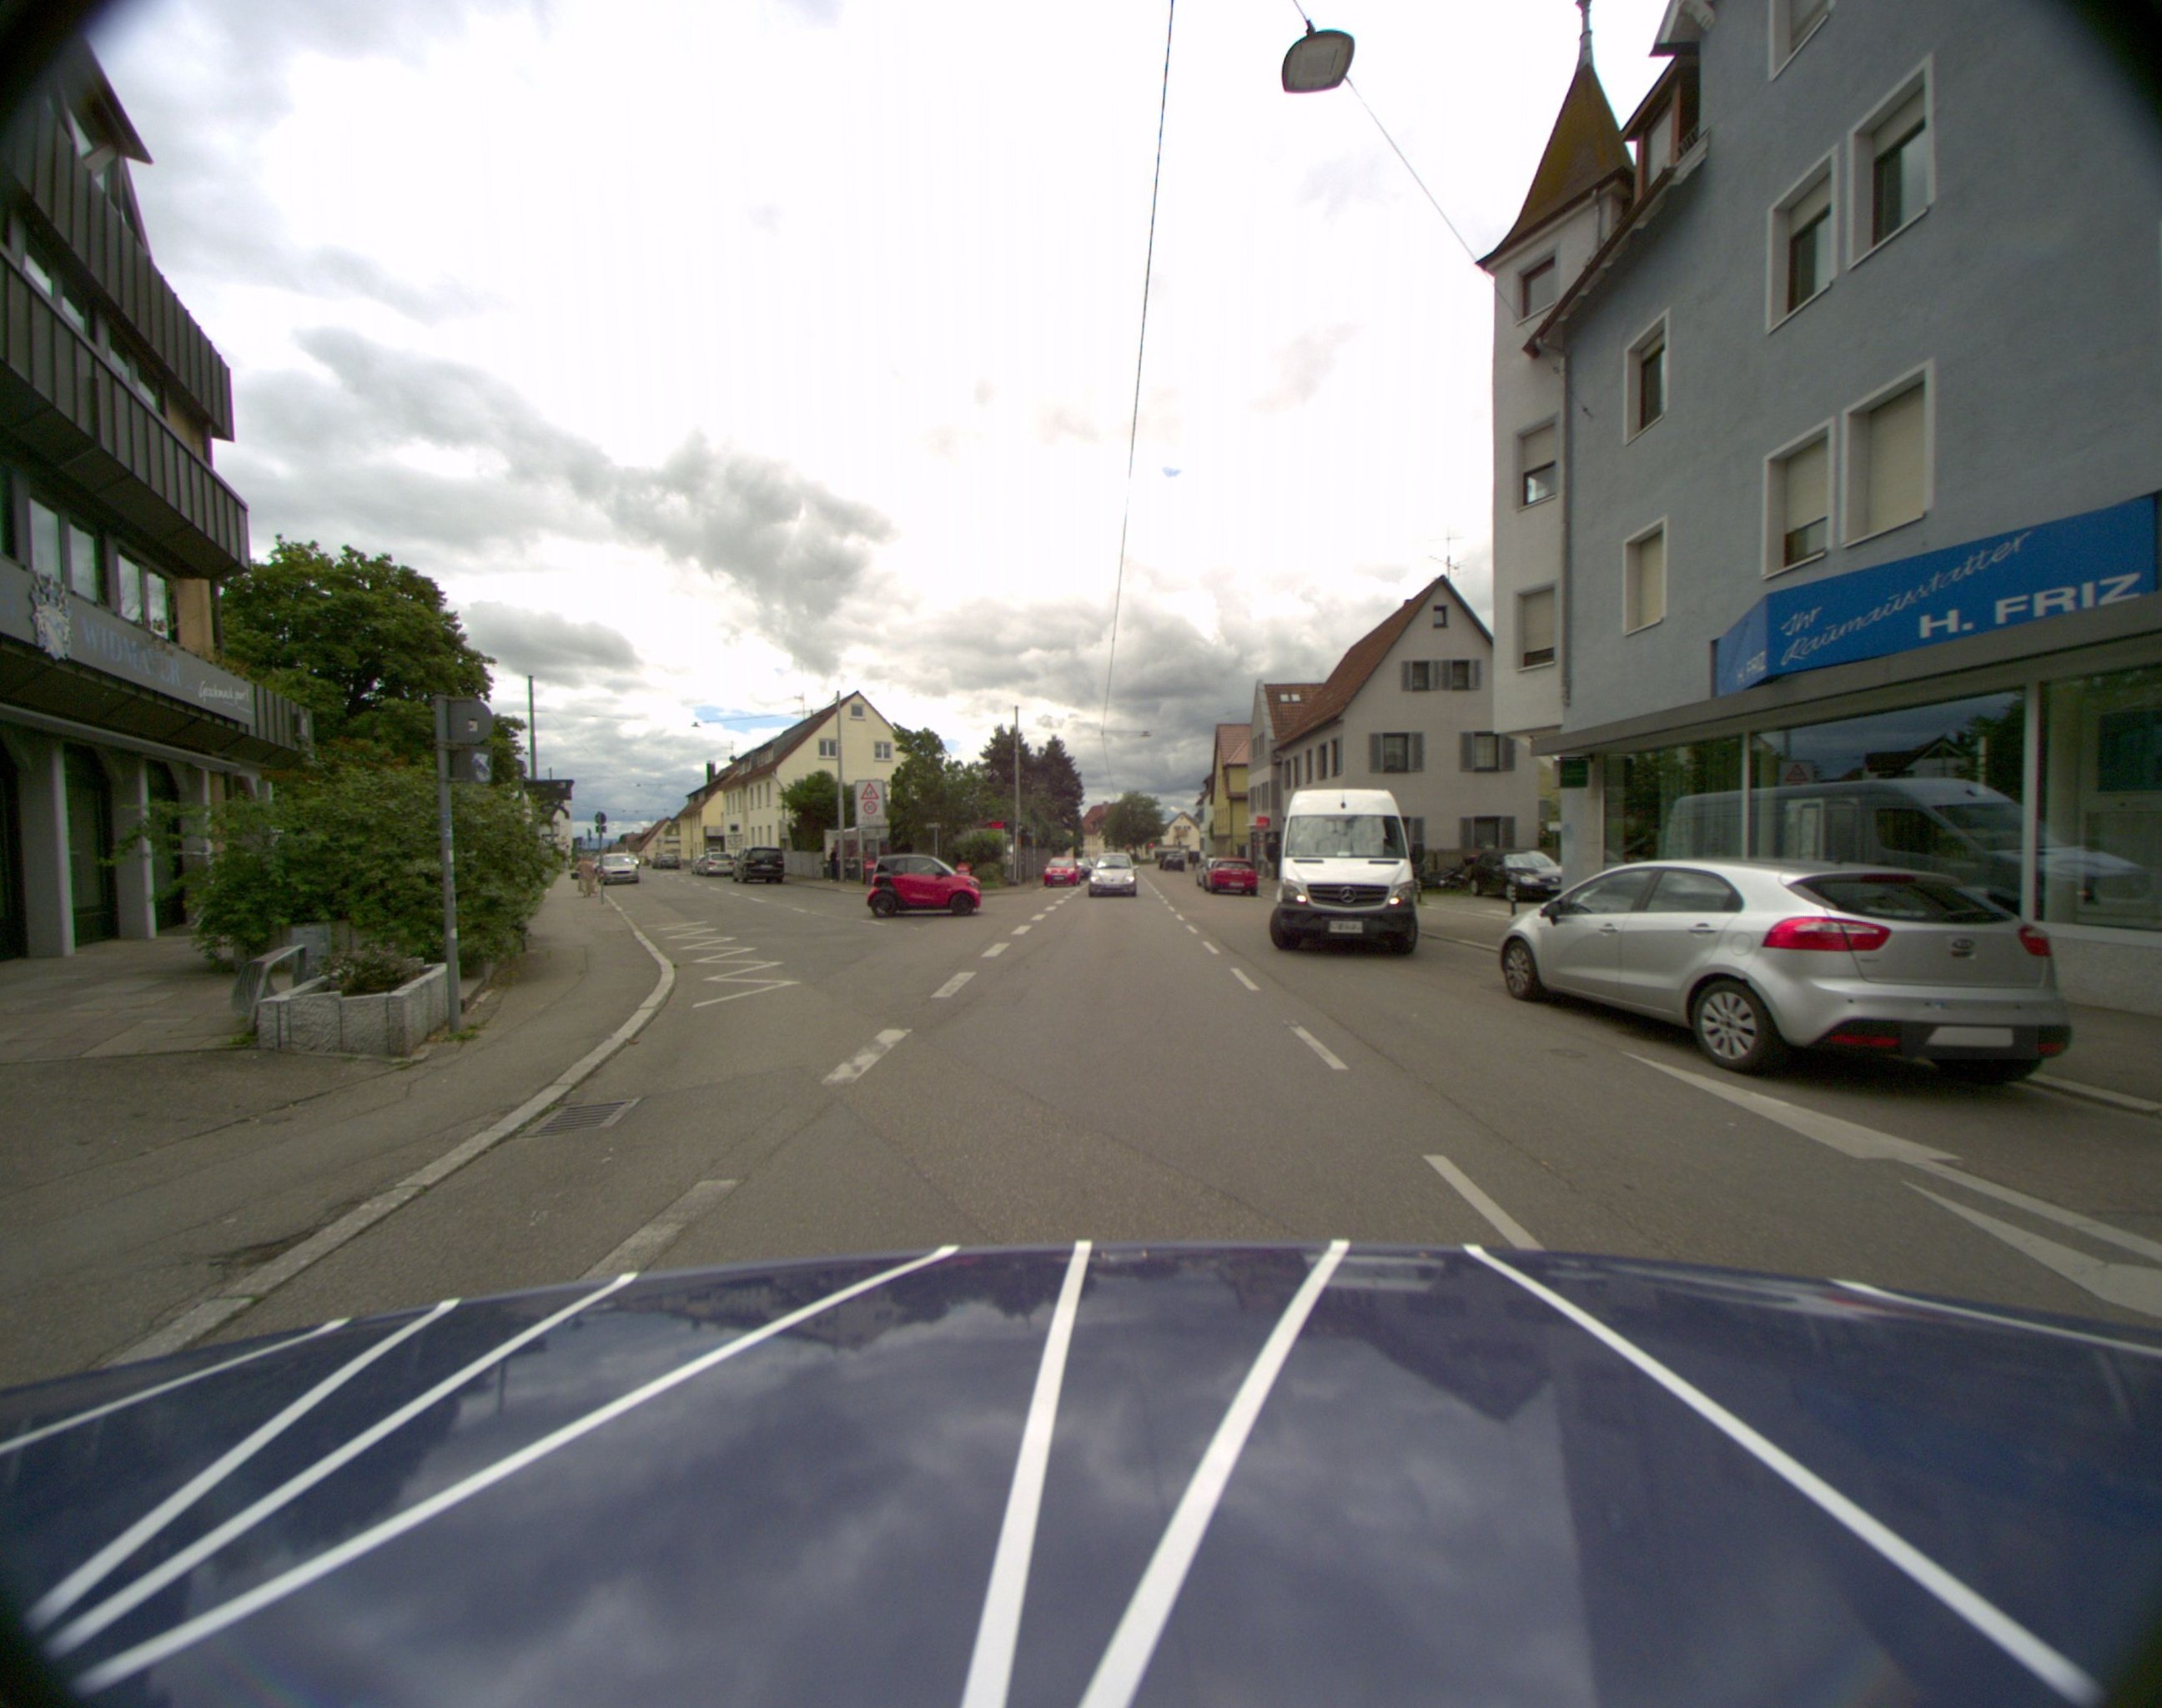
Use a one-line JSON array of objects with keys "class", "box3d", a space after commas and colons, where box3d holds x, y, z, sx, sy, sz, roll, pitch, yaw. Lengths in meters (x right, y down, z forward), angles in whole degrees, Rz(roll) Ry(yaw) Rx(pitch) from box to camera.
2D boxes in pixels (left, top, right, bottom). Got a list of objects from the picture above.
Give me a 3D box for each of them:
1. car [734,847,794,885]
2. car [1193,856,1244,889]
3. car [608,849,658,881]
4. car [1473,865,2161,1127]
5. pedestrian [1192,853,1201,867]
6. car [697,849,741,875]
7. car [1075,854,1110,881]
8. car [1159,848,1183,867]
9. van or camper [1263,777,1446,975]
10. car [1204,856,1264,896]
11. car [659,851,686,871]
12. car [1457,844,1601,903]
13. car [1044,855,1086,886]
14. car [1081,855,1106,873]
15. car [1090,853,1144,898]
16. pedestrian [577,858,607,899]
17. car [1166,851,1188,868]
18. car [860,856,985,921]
[{"class": "car", "box3d": [-16.437, 0.584, 39.279, 2.004, 1.866, 4.382, 0, 0, -34]}, {"class": "car", "box3d": [6.606, 0.869, 36.943, 1.781, 1.465, 4.353, 1, 0, 2]}, {"class": "car", "box3d": [-25.180, 0.590, 42.634, 2.004, 1.731, 4.381, 0, 0, -36]}, {"class": "car", "box3d": [5.132, 0.823, 6.236, 1.802, 1.403, 4.000, 0, 0, 1]}, {"class": "pedestrian", "box3d": [11.167, 0.553, 73.686, 0.832, 1.368, 0.551, 0, 1, 4]}, {"class": "car", "box3d": [-24.471, 0.510, 51.278, 2.004, 1.663, 4.382, 0, 0, -34]}, {"class": "car", "box3d": [0.771, 0.806, 47.855, 1.818, 1.472, 4.001, -4, 0, 5]}, {"class": "car", "box3d": [9.233, 0.344, 78.246, 2.111, 1.838, 4.353, 0, 0, 3]}, {"class": "van or camper", "box3d": [4.566, 0.288, 13.258, 2.322, 2.592, 6.215, 0, 0, 17]}, {"class": "car", "box3d": [6.194, 0.864, 31.179, 1.863, 1.465, 4.354, 2, 0, 5]}, {"class": "car", "box3d": [-41.953, 0.663, 78.052, 2.004, 2.002, 4.382, 0, 0, -34]}, {"class": "car", "box3d": [13.477, 0.549, 23.208, 1.998, 1.543, 4.417, -3, 0, 5]}, {"class": "car", "box3d": [-0.770, 0.828, 39.229, 1.718, 1.472, 4.001, 0, 0, 5]}, {"class": "car", "box3d": [1.192, 0.895, 68.856, 1.995, 1.490, 4.353, -3, 0, 3]}, {"class": "car", "box3d": [1.341, 0.742, 28.424, 1.857, 1.547, 4.353, 0, 0, 3]}, {"class": "pedestrian", "box3d": [-18.599, 0.913, 28.884, 0.902, 1.527, 0.957, -2, 1, -33]}, {"class": "car", "box3d": [9.005, 0.545, 71.600, 1.717, 1.559, 4.353, 0, 0, 3]}, {"class": "car", "box3d": [-3.928, 0.827, 19.244, 2.939, 1.511, 1.819, -1, 0, -7]}]
